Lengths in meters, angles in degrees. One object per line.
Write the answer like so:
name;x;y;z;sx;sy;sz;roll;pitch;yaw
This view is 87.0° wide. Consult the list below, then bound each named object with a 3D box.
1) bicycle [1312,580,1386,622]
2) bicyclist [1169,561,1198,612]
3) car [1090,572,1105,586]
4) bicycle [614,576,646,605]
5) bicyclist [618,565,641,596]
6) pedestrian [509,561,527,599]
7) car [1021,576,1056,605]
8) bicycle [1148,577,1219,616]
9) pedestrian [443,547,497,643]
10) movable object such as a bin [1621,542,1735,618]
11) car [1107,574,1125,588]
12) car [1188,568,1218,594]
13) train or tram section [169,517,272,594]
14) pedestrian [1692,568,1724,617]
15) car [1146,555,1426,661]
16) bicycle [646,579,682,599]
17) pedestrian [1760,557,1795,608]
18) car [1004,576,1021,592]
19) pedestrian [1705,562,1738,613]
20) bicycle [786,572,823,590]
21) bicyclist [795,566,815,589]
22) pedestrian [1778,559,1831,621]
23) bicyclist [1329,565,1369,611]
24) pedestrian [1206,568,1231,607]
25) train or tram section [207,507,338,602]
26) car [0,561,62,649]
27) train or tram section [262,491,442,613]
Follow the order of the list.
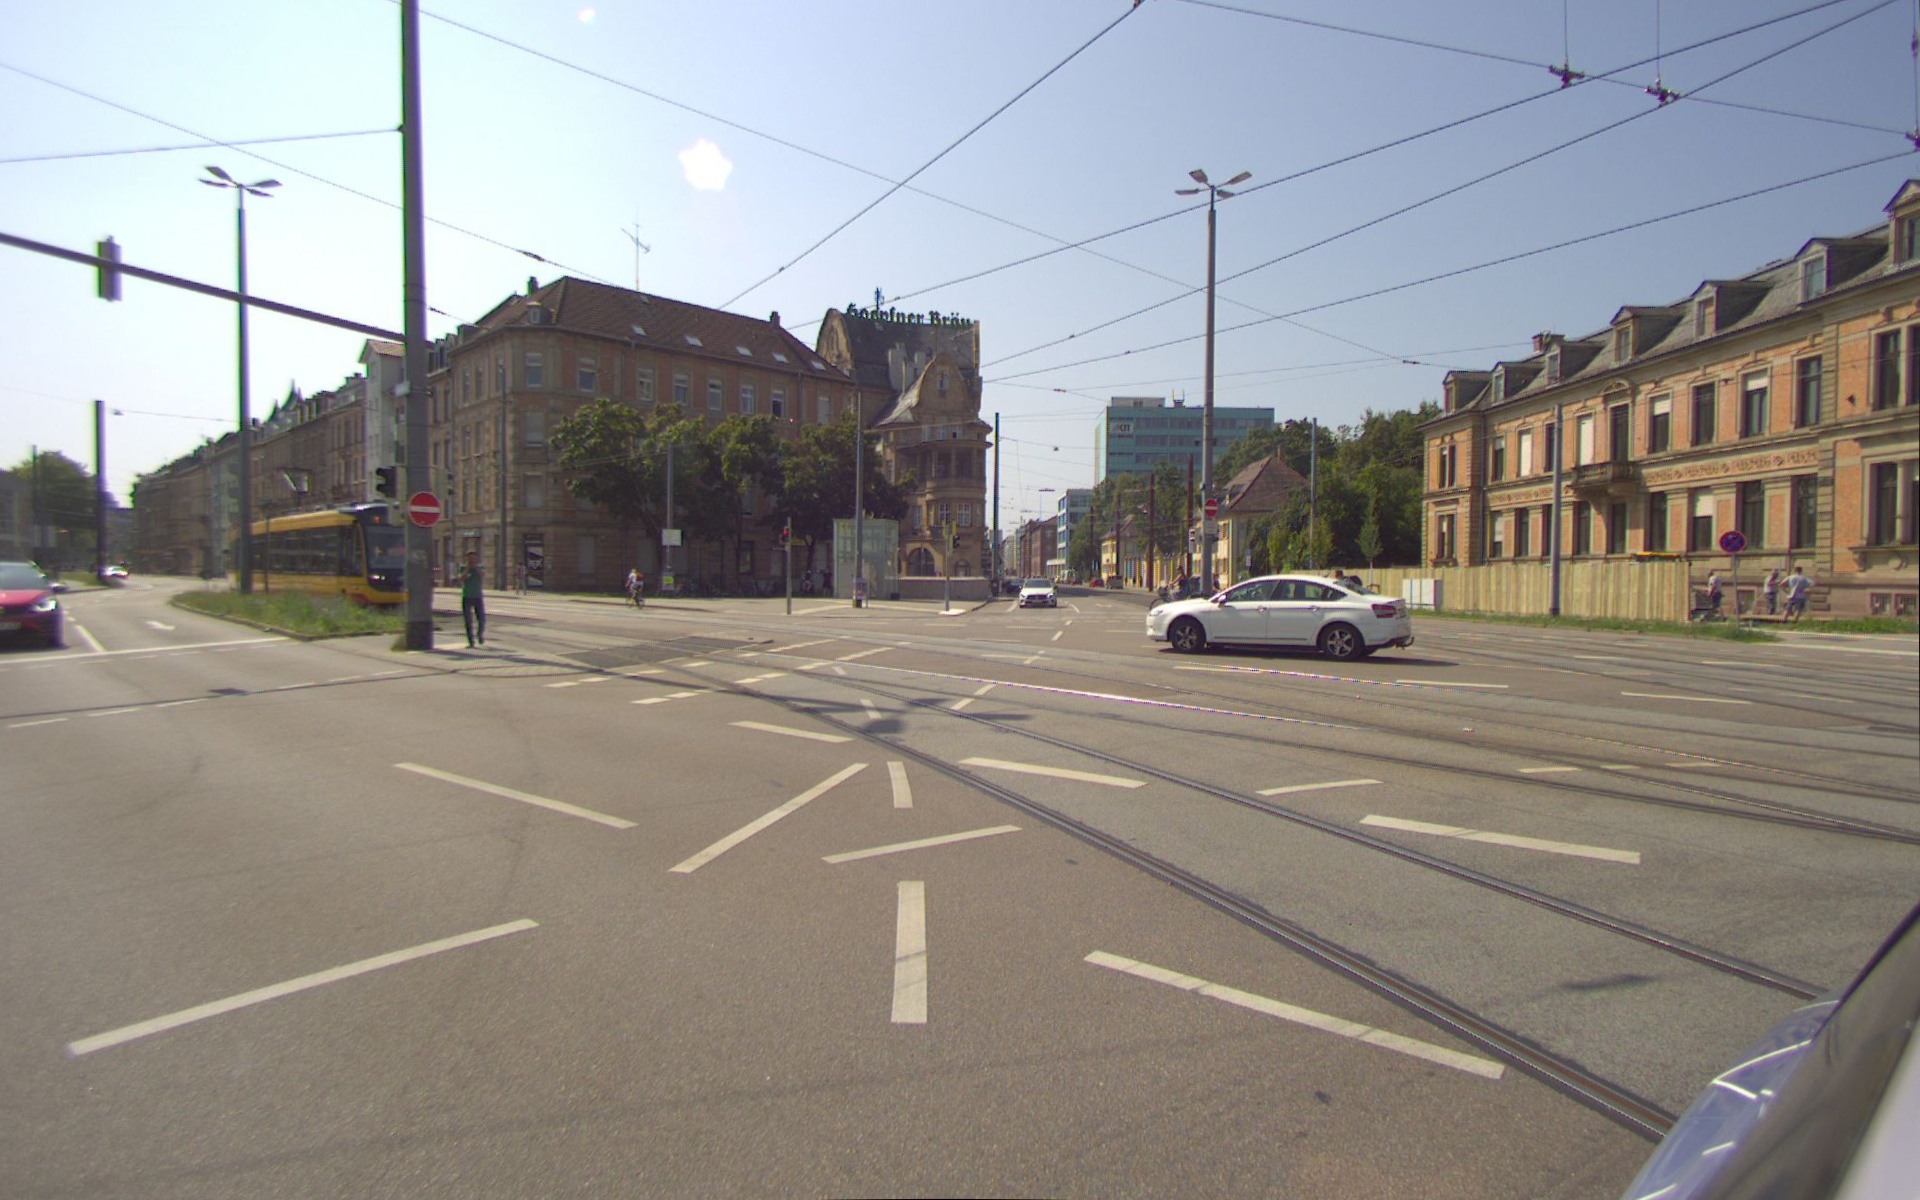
bicycle;10.868;0.030;28.306;1.827;1.125;0.711;-1;2;13
bicyclist;6.719;-0.408;30.451;0.640;1.499;0.650;1;1;35
car;20.508;-3.097;150.992;1.964;1.928;3.996;1;0;4
bicycle;-13.388;-0.398;41.065;1.635;1.125;0.435;2;2;40
bicyclist;-13.445;-0.798;41.147;0.640;1.269;0.650;1;1;35
pedestrian;-24.193;-1.112;55.391;0.700;2.039;0.641;1;1;41
car;3.893;-0.493;49.783;1.561;1.304;3.721;1;2;7
bicycle;6.714;-0.111;30.467;2.115;1.125;0.435;1;1;36
pedestrian;-8.914;-0.095;18.393;0.788;1.708;0.720;1;1;-31
movable object such as a bin;26.871;-0.781;38.056;1.790;2.705;4.441;0;2;11
car;20.462;-2.478;132.656;1.964;1.705;3.996;1;0;4
car;20.346;-1.574;84.824;1.966;2.039;3.992;0;0;7
train or tram section;-38.562;-2.248;52.508;2.554;3.604;12.185;-1;2;-45
pedestrian;26.079;-0.261;35.289;0.671;1.692;0.686;0;1;-31
car;5.880;0.044;18.542;4.576;1.638;1.750;3;4;36
bicycle;-14.487;-0.537;49.619;0.459;0.969;1.764;1;2;39
pedestrian;27.462;-0.601;33.992;0.671;1.692;0.686;0;1;-31
car;4.929;-1.477;95.366;1.348;1.416;3.257;1;0;-2
pedestrian;25.736;-0.442;34.199;0.671;1.692;0.686;0;1;-31
bicycle;-9.088;-1.103;59.186;2.360;1.010;0.638;2;2;36
bicyclist;-9.059;-1.321;59.136;0.915;1.336;0.740;2;2;35
pedestrian;25.415;-0.304;30.462;0.671;1.835;1.040;0;1;-31
bicyclist;10.869;-0.336;28.299;0.851;1.249;1.098;1;1;13
pedestrian;9.218;-0.462;36.061;0.806;1.368;0.715;1;1;21
train or tram section;-30.009;-1.925;43.841;2.554;3.604;12.185;-1;2;-45
car;-17.666;0.035;18.555;1.604;1.490;3.762;-1;2;-45
train or tram section;-21.432;-1.598;35.172;2.554;3.604;12.185;-1;2;-45
